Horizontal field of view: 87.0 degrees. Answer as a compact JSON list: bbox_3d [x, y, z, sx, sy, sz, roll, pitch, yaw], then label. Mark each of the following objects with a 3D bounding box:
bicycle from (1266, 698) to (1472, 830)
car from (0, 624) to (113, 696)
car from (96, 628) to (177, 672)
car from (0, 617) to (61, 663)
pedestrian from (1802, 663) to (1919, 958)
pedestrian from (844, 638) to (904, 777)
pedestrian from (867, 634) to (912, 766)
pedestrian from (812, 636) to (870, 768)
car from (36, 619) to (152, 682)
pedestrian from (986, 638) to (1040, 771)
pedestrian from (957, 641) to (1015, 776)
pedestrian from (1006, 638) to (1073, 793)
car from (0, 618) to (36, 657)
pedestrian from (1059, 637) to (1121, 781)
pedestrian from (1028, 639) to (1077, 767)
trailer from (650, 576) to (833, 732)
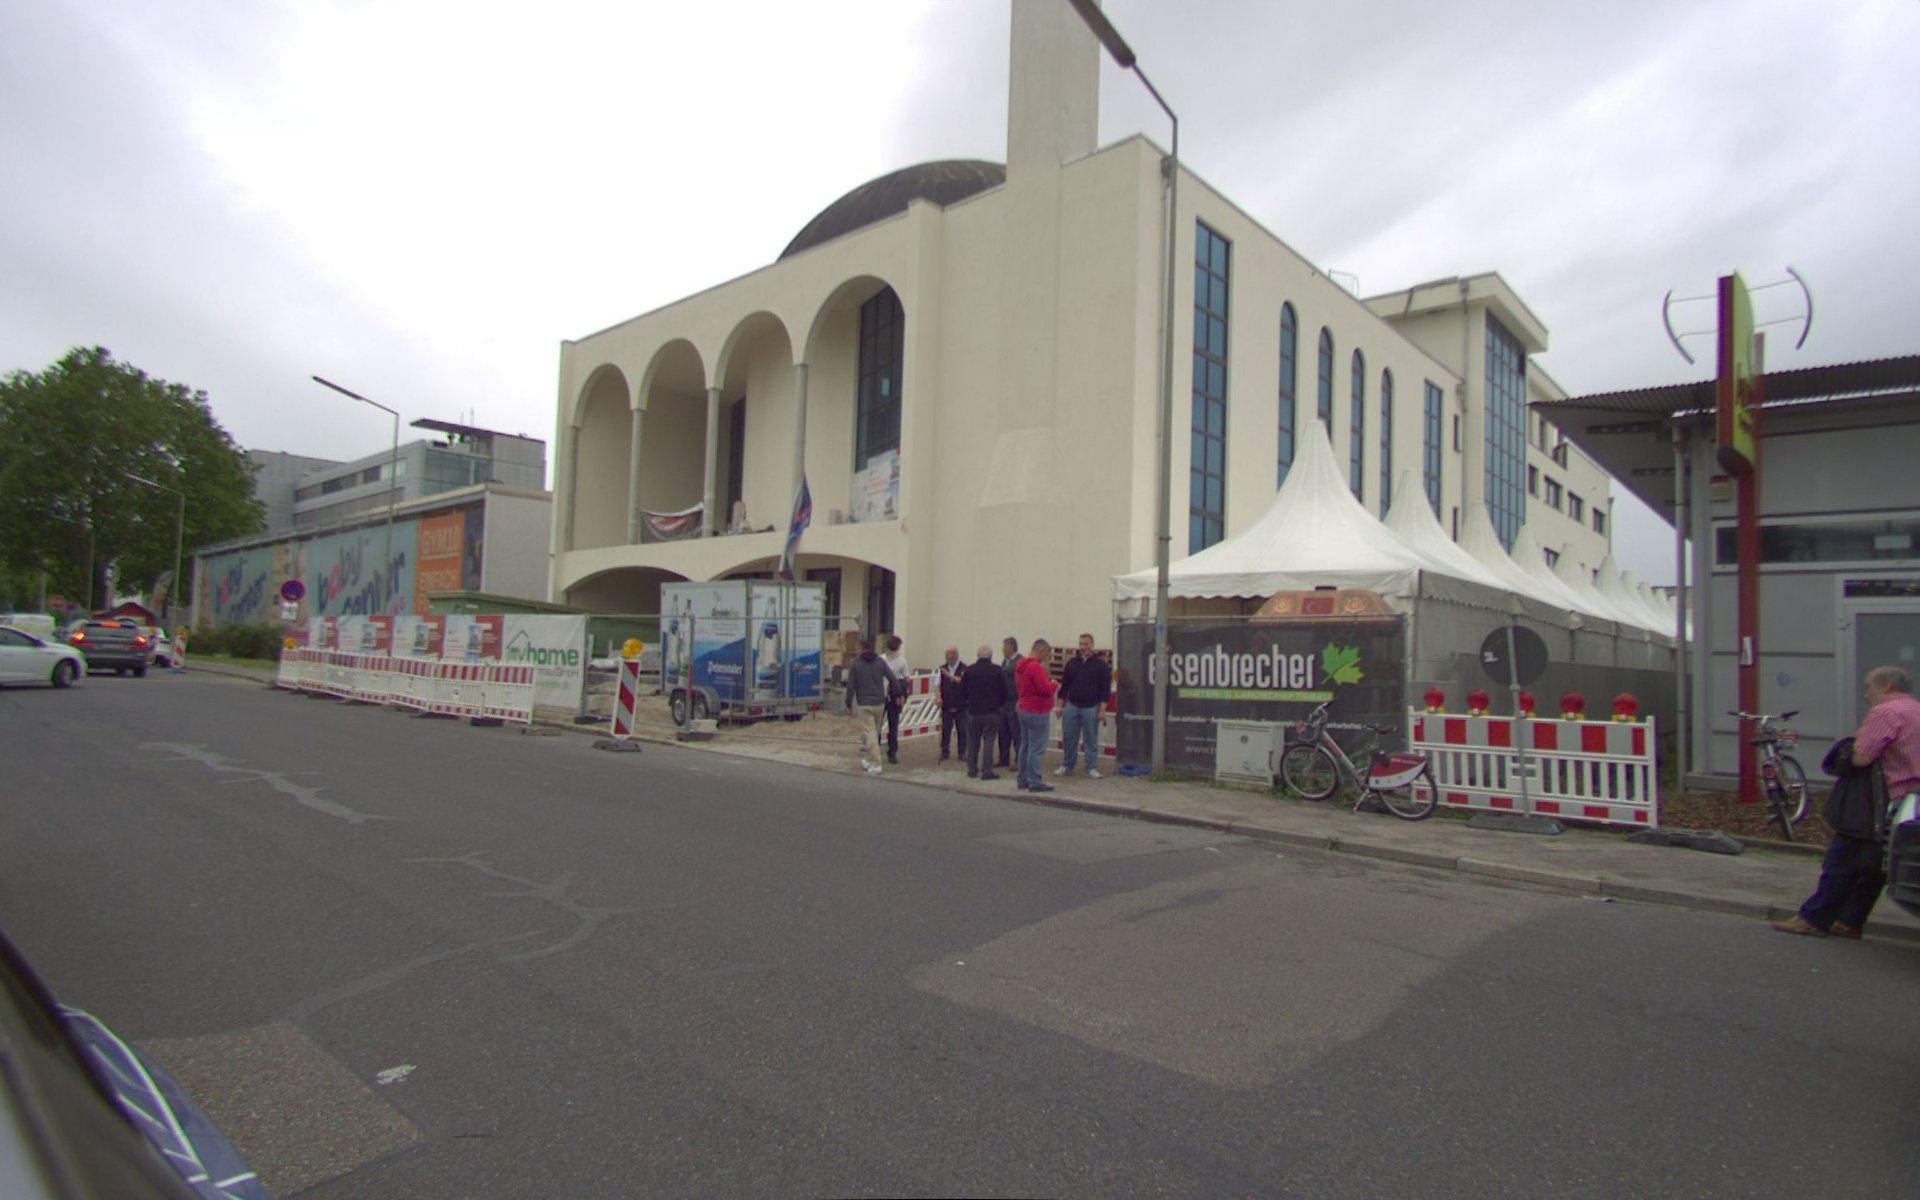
[{"bbox_3d":[4.112,1.612,10.305,0.537,1.086,1.904,4,-3,-41],"label":"bicycle"},{"bbox_3d":[-20.623,1.229,21.027,1.917,1.439,4.483,2,-2,8],"label":"car"},{"bbox_3d":[-32.844,1.977,40.339,4.150,1.586,1.903,-1,-5,43],"label":"car"},{"bbox_3d":[-38.157,1.621,41.281,4.133,1.774,1.672,-1,-5,42],"label":"car"},{"bbox_3d":[5.619,1.232,6.019,0.667,1.634,0.652,4,-6,6],"label":"pedestrian"},{"bbox_3d":[-1.120,1.388,13.213,0.682,1.763,0.490,-2,-3,3],"label":"pedestrian"},{"bbox_3d":[-0.976,1.369,14.000,0.521,1.763,0.490,-2,-3,2],"label":"pedestrian"},{"bbox_3d":[-1.640,1.401,14.015,0.682,1.763,0.490,-2,-3,3],"label":"pedestrian"},{"bbox_3d":[-25.780,1.472,30.080,4.494,1.697,1.912,-1,-5,42],"label":"car"},{"bbox_3d":[0.695,1.362,13.274,0.568,1.705,0.408,-3,-3,18],"label":"pedestrian"},{"bbox_3d":[0.325,1.335,12.559,0.567,1.624,0.488,-3,-3,18],"label":"pedestrian"},{"bbox_3d":[0.909,1.293,11.540,0.531,1.705,0.508,-4,-4,32],"label":"pedestrian"},{"bbox_3d":[-48.877,1.869,51.784,4.382,1.821,1.776,0,-5,42],"label":"car"},{"bbox_3d":[1.620,1.334,12.658,0.679,1.731,0.694,-2,-2,7],"label":"pedestrian"},{"bbox_3d":[1.251,1.388,13.735,0.484,1.623,0.540,-6,2,3],"label":"pedestrian"},{"bbox_3d":[-4.095,0.997,18.785,1.777,2.627,3.193,5,-5,-44],"label":"trailer"}]
